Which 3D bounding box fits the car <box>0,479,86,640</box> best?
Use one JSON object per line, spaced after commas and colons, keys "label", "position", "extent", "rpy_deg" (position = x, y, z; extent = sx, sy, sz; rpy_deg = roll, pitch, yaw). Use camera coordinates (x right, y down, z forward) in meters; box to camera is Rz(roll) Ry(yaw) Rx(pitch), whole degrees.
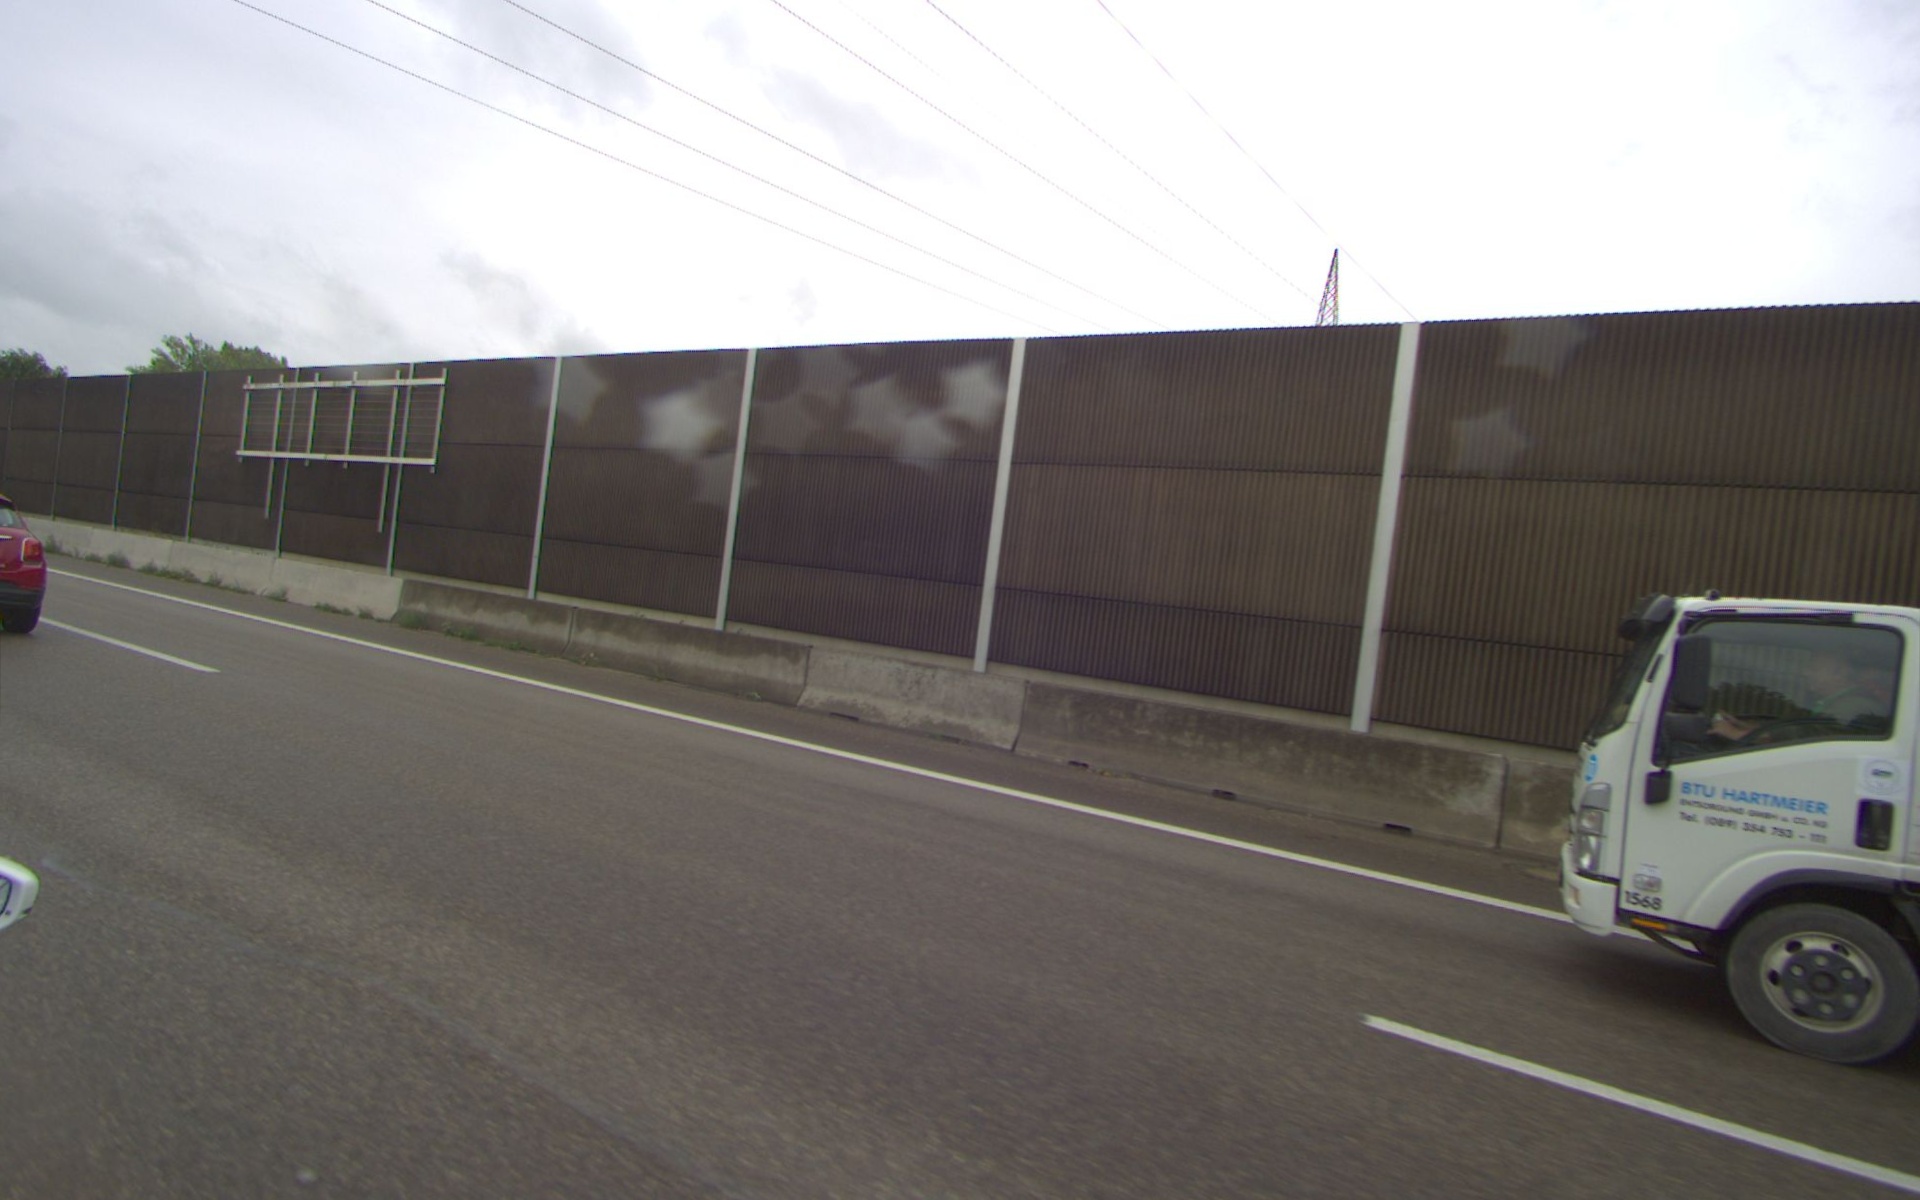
{"label": "car", "position": [-12.015, -0.653, 11.491], "extent": [3.936, 1.666, 1.960], "rpy_deg": [6, -2, 33]}

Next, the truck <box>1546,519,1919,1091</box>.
{"label": "truck", "position": [6.420, 1.240, 4.724], "extent": [6.043, 2.535, 2.365], "rpy_deg": [7, -2, 33]}
